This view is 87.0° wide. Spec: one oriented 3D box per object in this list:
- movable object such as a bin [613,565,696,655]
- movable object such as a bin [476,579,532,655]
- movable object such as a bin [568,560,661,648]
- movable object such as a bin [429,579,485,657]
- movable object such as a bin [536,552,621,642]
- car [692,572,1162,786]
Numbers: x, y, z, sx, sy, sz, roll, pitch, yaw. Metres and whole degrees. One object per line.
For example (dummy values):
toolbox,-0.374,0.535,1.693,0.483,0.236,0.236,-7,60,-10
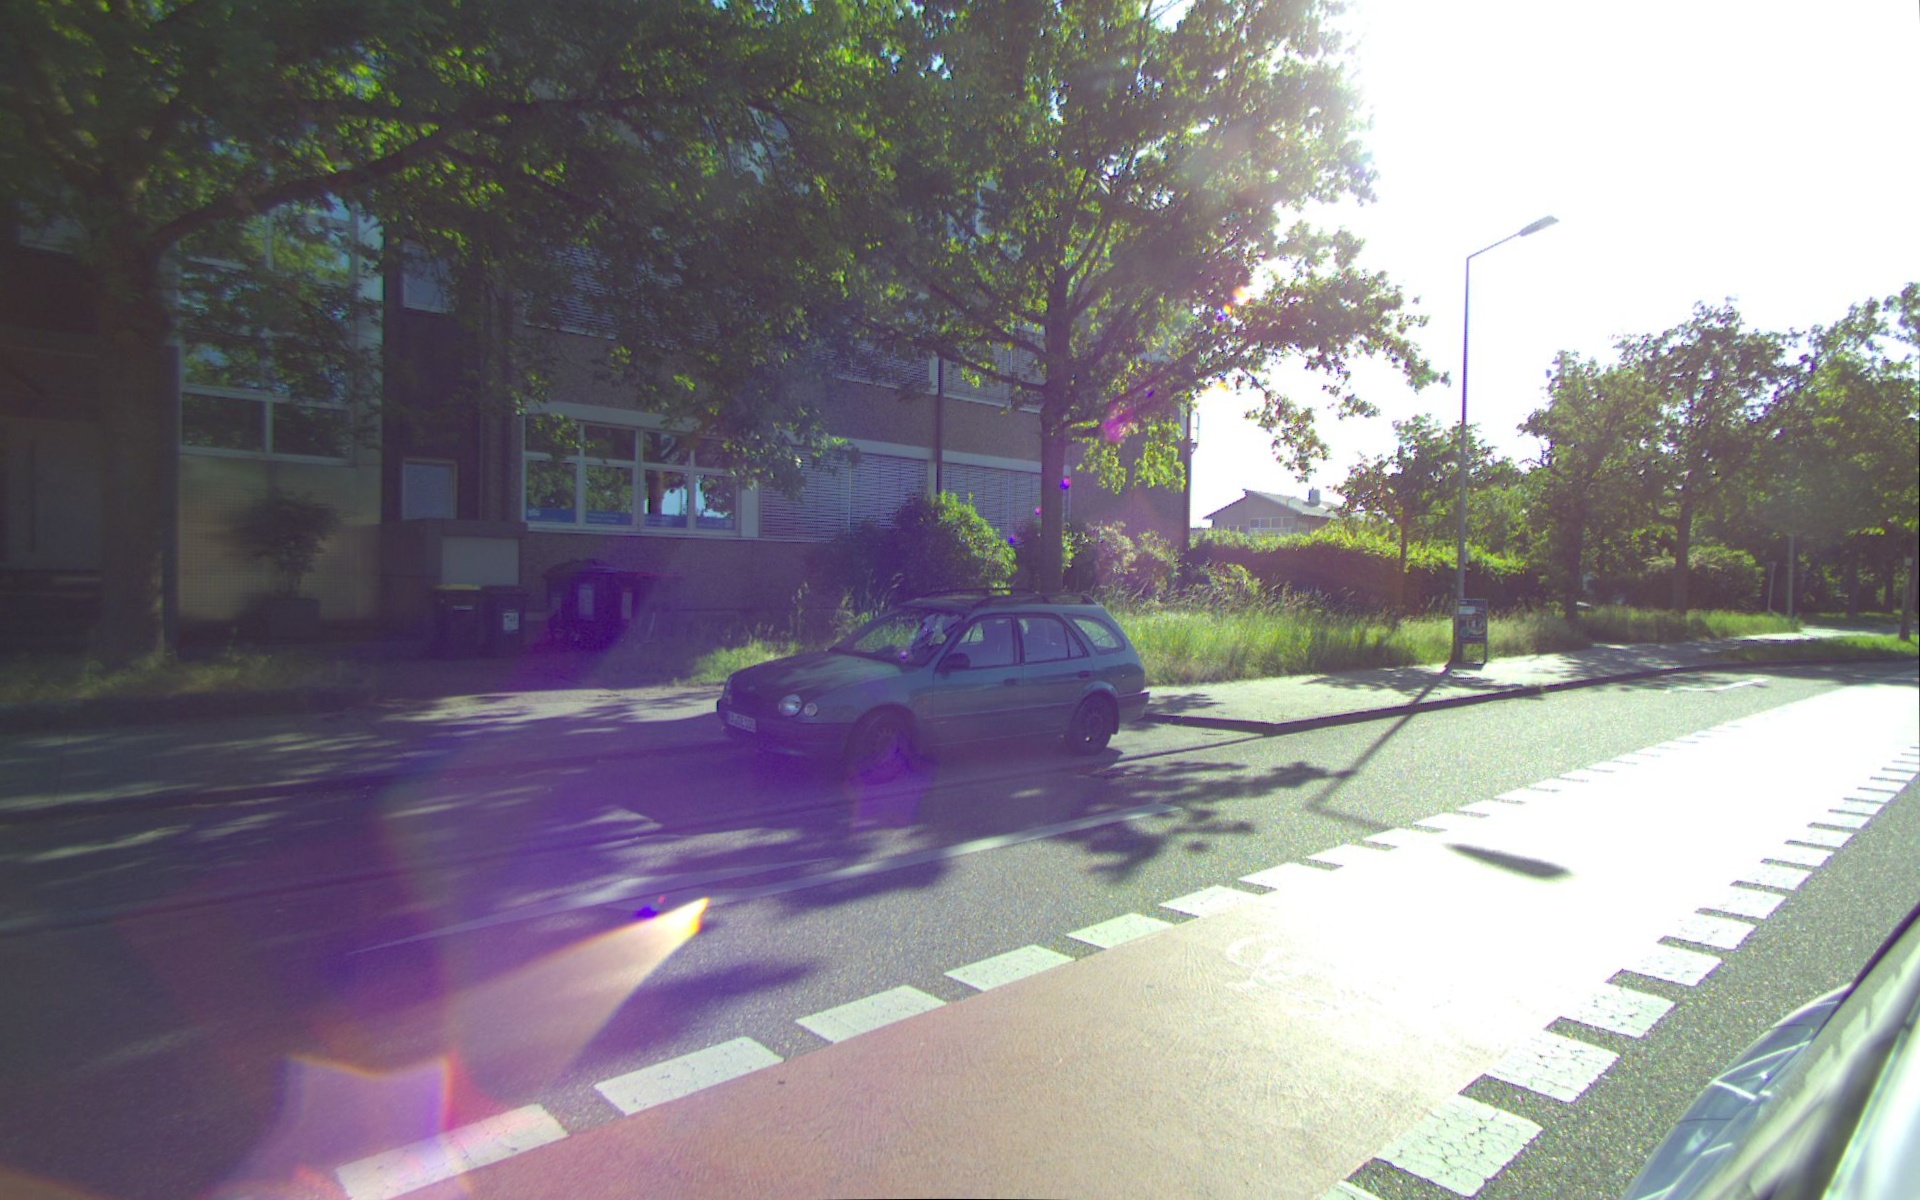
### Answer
movable object such as a bin,-4.772,0.123,15.775,0.878,1.323,1.186,0,2,-37
movable object such as a bin,-6.750,0.238,14.979,0.604,1.075,0.634,0,1,-42
movable object such as a bin,-5.763,0.040,16.862,1.070,1.388,1.186,0,2,-43
movable object such as a bin,-7.206,0.243,14.499,0.575,1.070,0.625,0,1,-42
movable object such as a bin,-6.772,-0.076,17.943,1.024,1.501,1.309,0,2,-41
car,-0.137,0.573,9.134,4.068,1.487,1.705,1,1,-41
